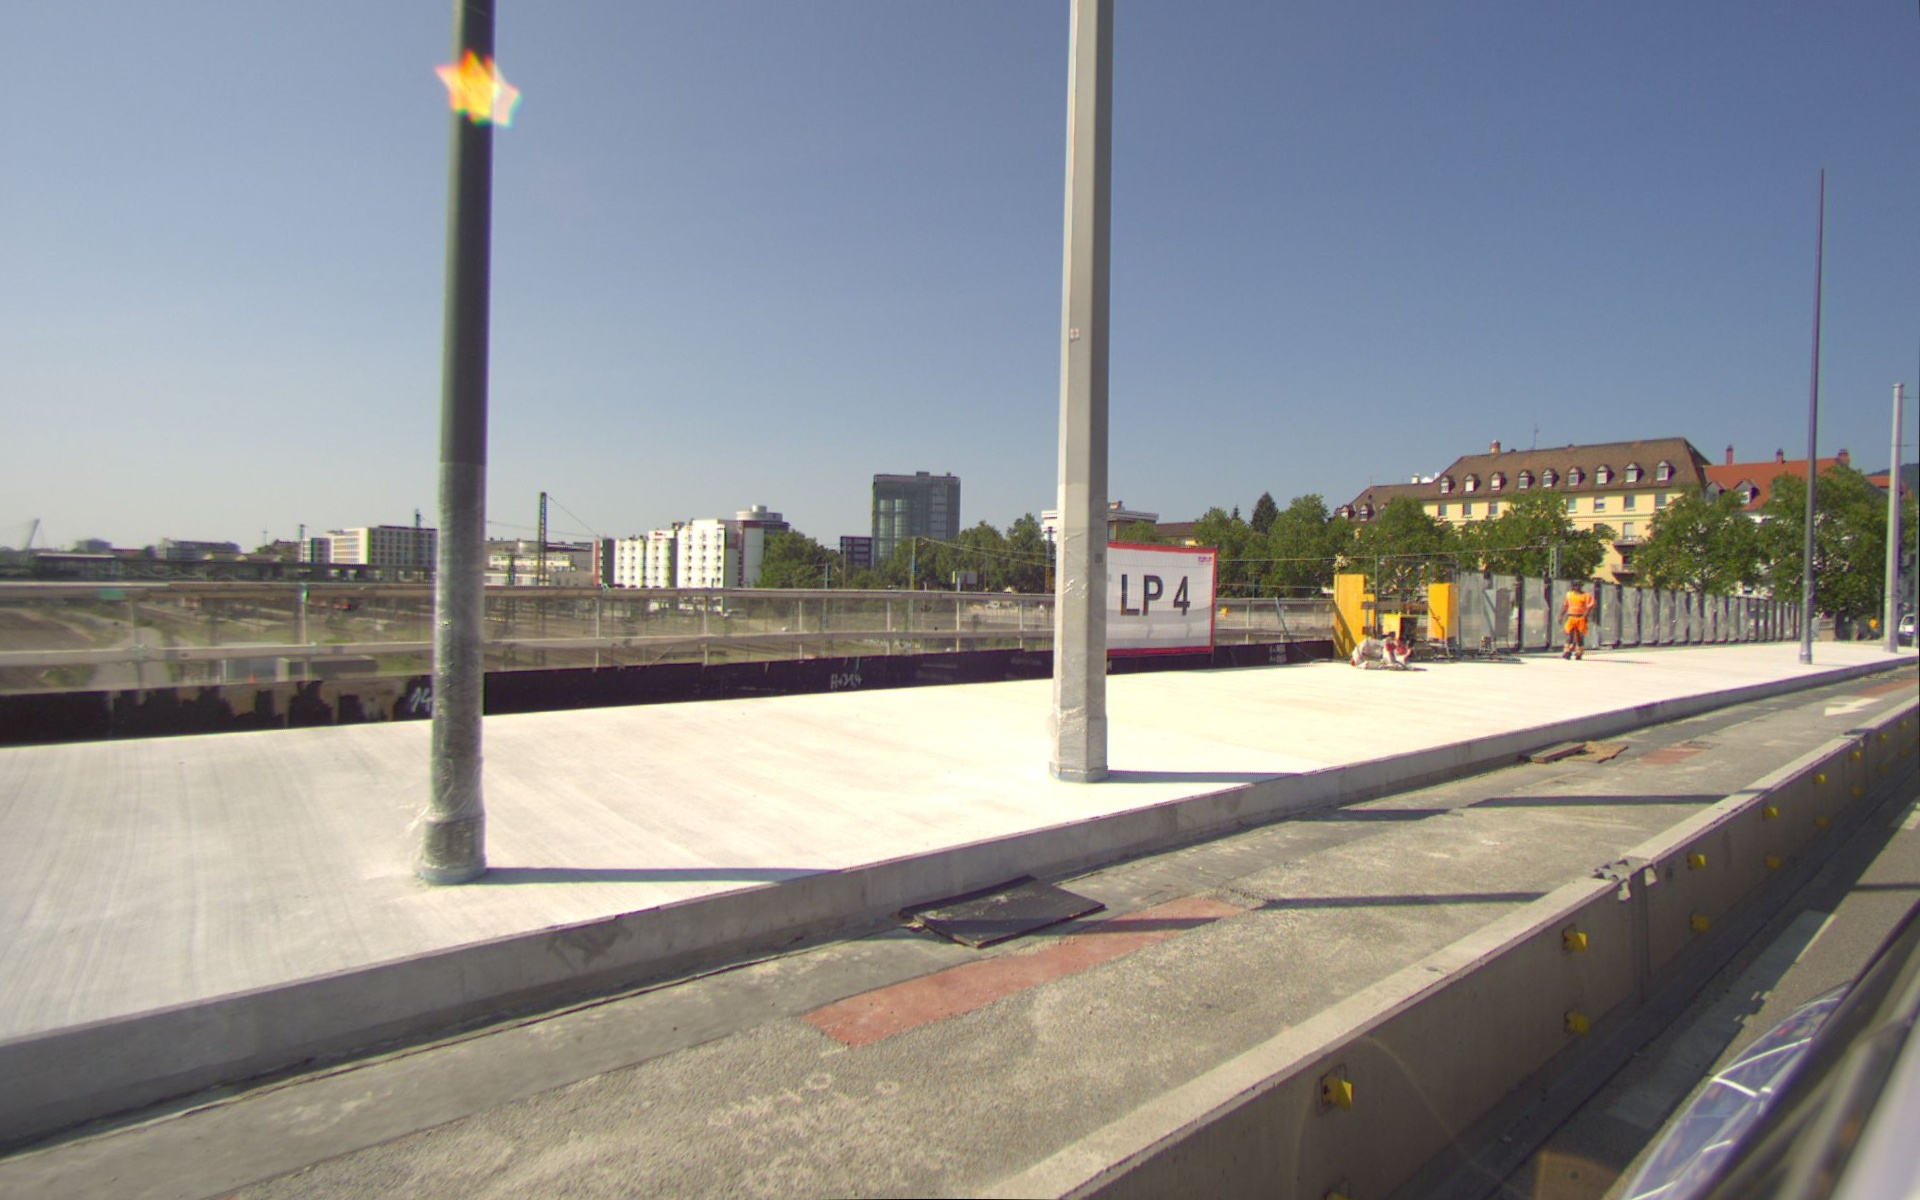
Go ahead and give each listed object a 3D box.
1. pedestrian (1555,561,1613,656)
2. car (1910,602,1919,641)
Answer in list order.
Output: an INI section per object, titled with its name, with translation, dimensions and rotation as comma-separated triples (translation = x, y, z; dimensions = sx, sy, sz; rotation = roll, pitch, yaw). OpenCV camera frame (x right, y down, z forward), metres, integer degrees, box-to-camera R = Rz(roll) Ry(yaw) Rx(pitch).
[pedestrian]
translation = 13.468, 0.176, 21.841
dimensions = 0.999, 1.989, 0.732
rotation = 1, 2, -41
[car]
translation = 54.484, 1.253, 56.103
dimensions = 6.354, 2.117, 1.937
rotation = 2, -1, -40
